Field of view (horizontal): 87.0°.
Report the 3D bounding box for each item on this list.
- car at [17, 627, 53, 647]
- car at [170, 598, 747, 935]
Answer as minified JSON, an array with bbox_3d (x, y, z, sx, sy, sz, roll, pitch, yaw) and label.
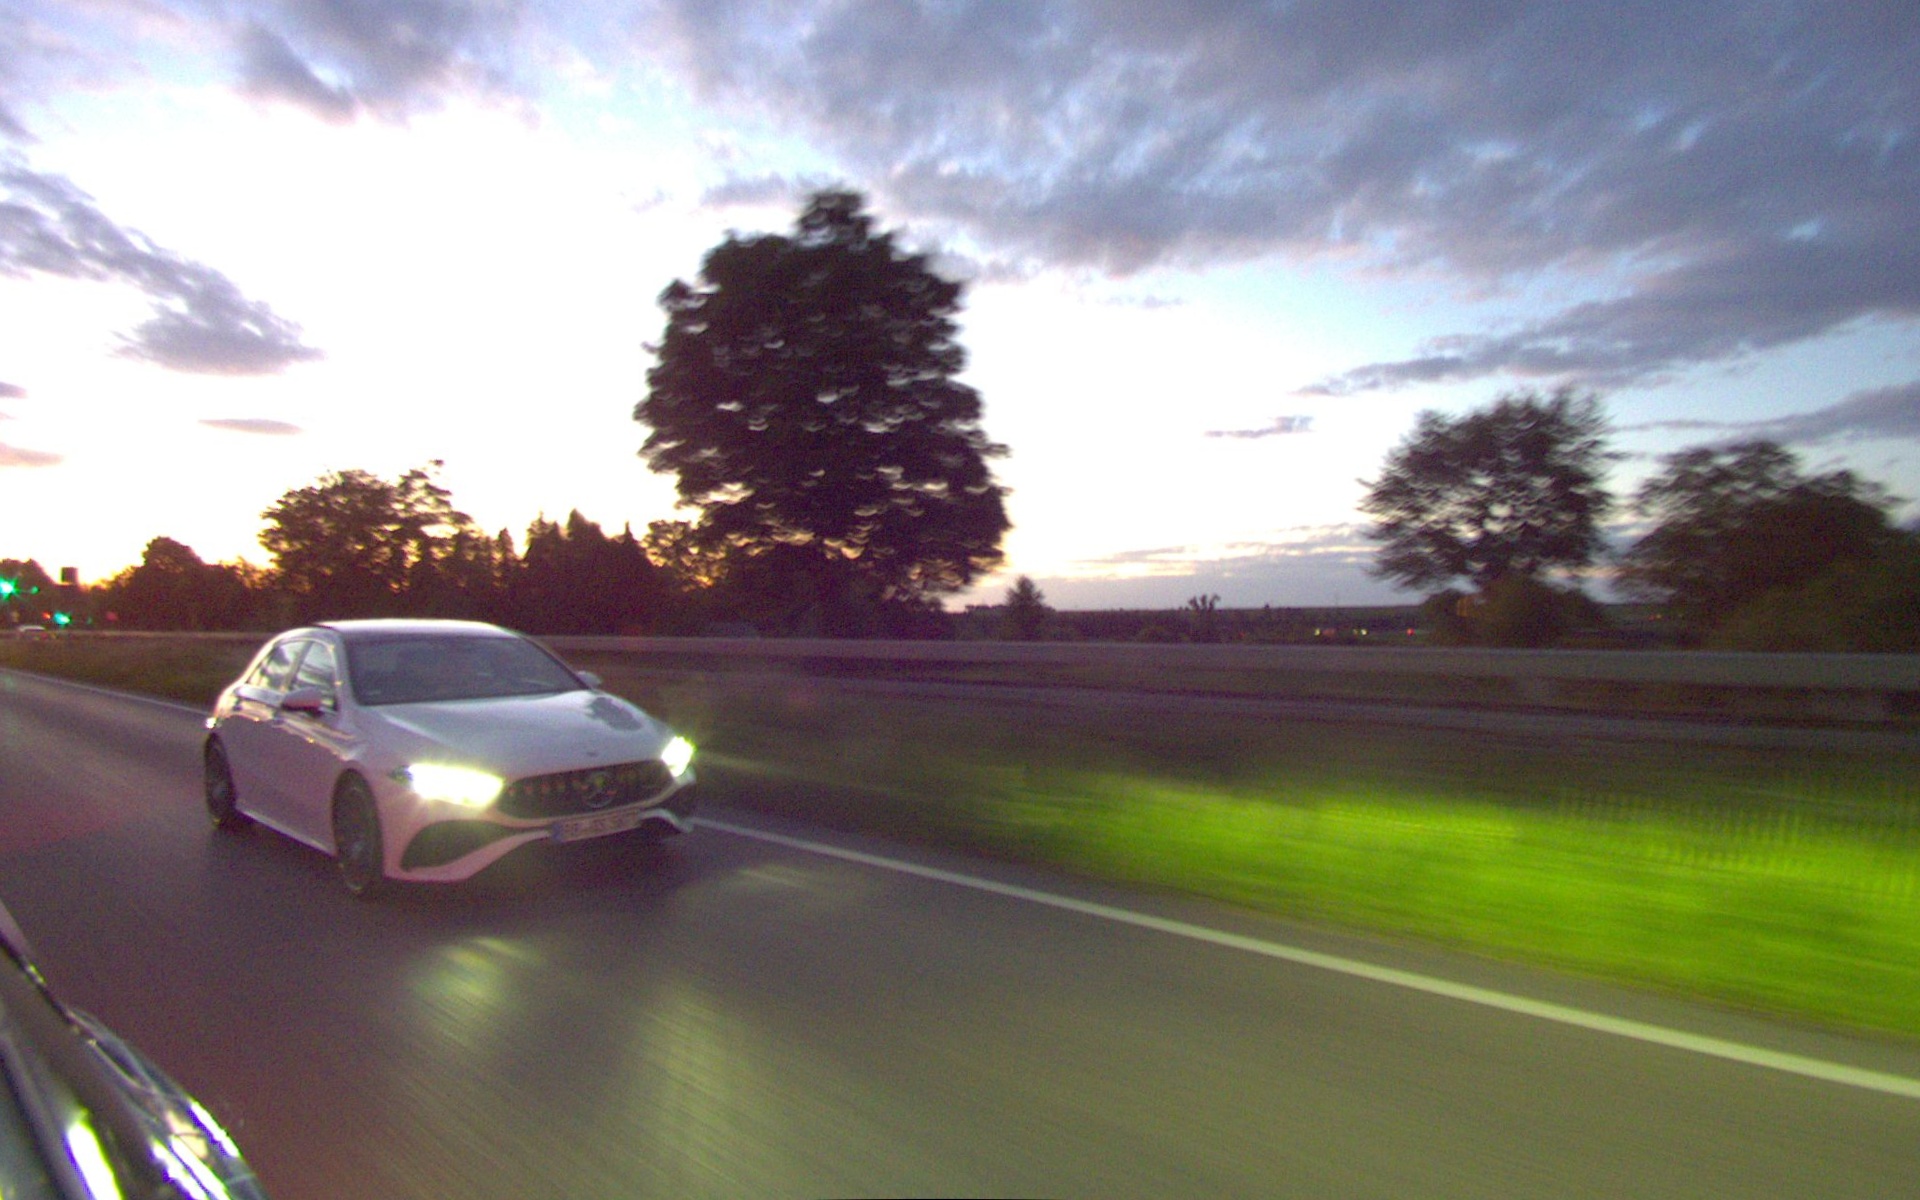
[{"bbox_3d":[-73.522,2.916,80.415,3.997,1.516,1.638,-2,0,40],"label":"car"},{"bbox_3d":[-3.565,0.818,6.679,4.644,1.447,1.796,-3,-1,42],"label":"car"}]
